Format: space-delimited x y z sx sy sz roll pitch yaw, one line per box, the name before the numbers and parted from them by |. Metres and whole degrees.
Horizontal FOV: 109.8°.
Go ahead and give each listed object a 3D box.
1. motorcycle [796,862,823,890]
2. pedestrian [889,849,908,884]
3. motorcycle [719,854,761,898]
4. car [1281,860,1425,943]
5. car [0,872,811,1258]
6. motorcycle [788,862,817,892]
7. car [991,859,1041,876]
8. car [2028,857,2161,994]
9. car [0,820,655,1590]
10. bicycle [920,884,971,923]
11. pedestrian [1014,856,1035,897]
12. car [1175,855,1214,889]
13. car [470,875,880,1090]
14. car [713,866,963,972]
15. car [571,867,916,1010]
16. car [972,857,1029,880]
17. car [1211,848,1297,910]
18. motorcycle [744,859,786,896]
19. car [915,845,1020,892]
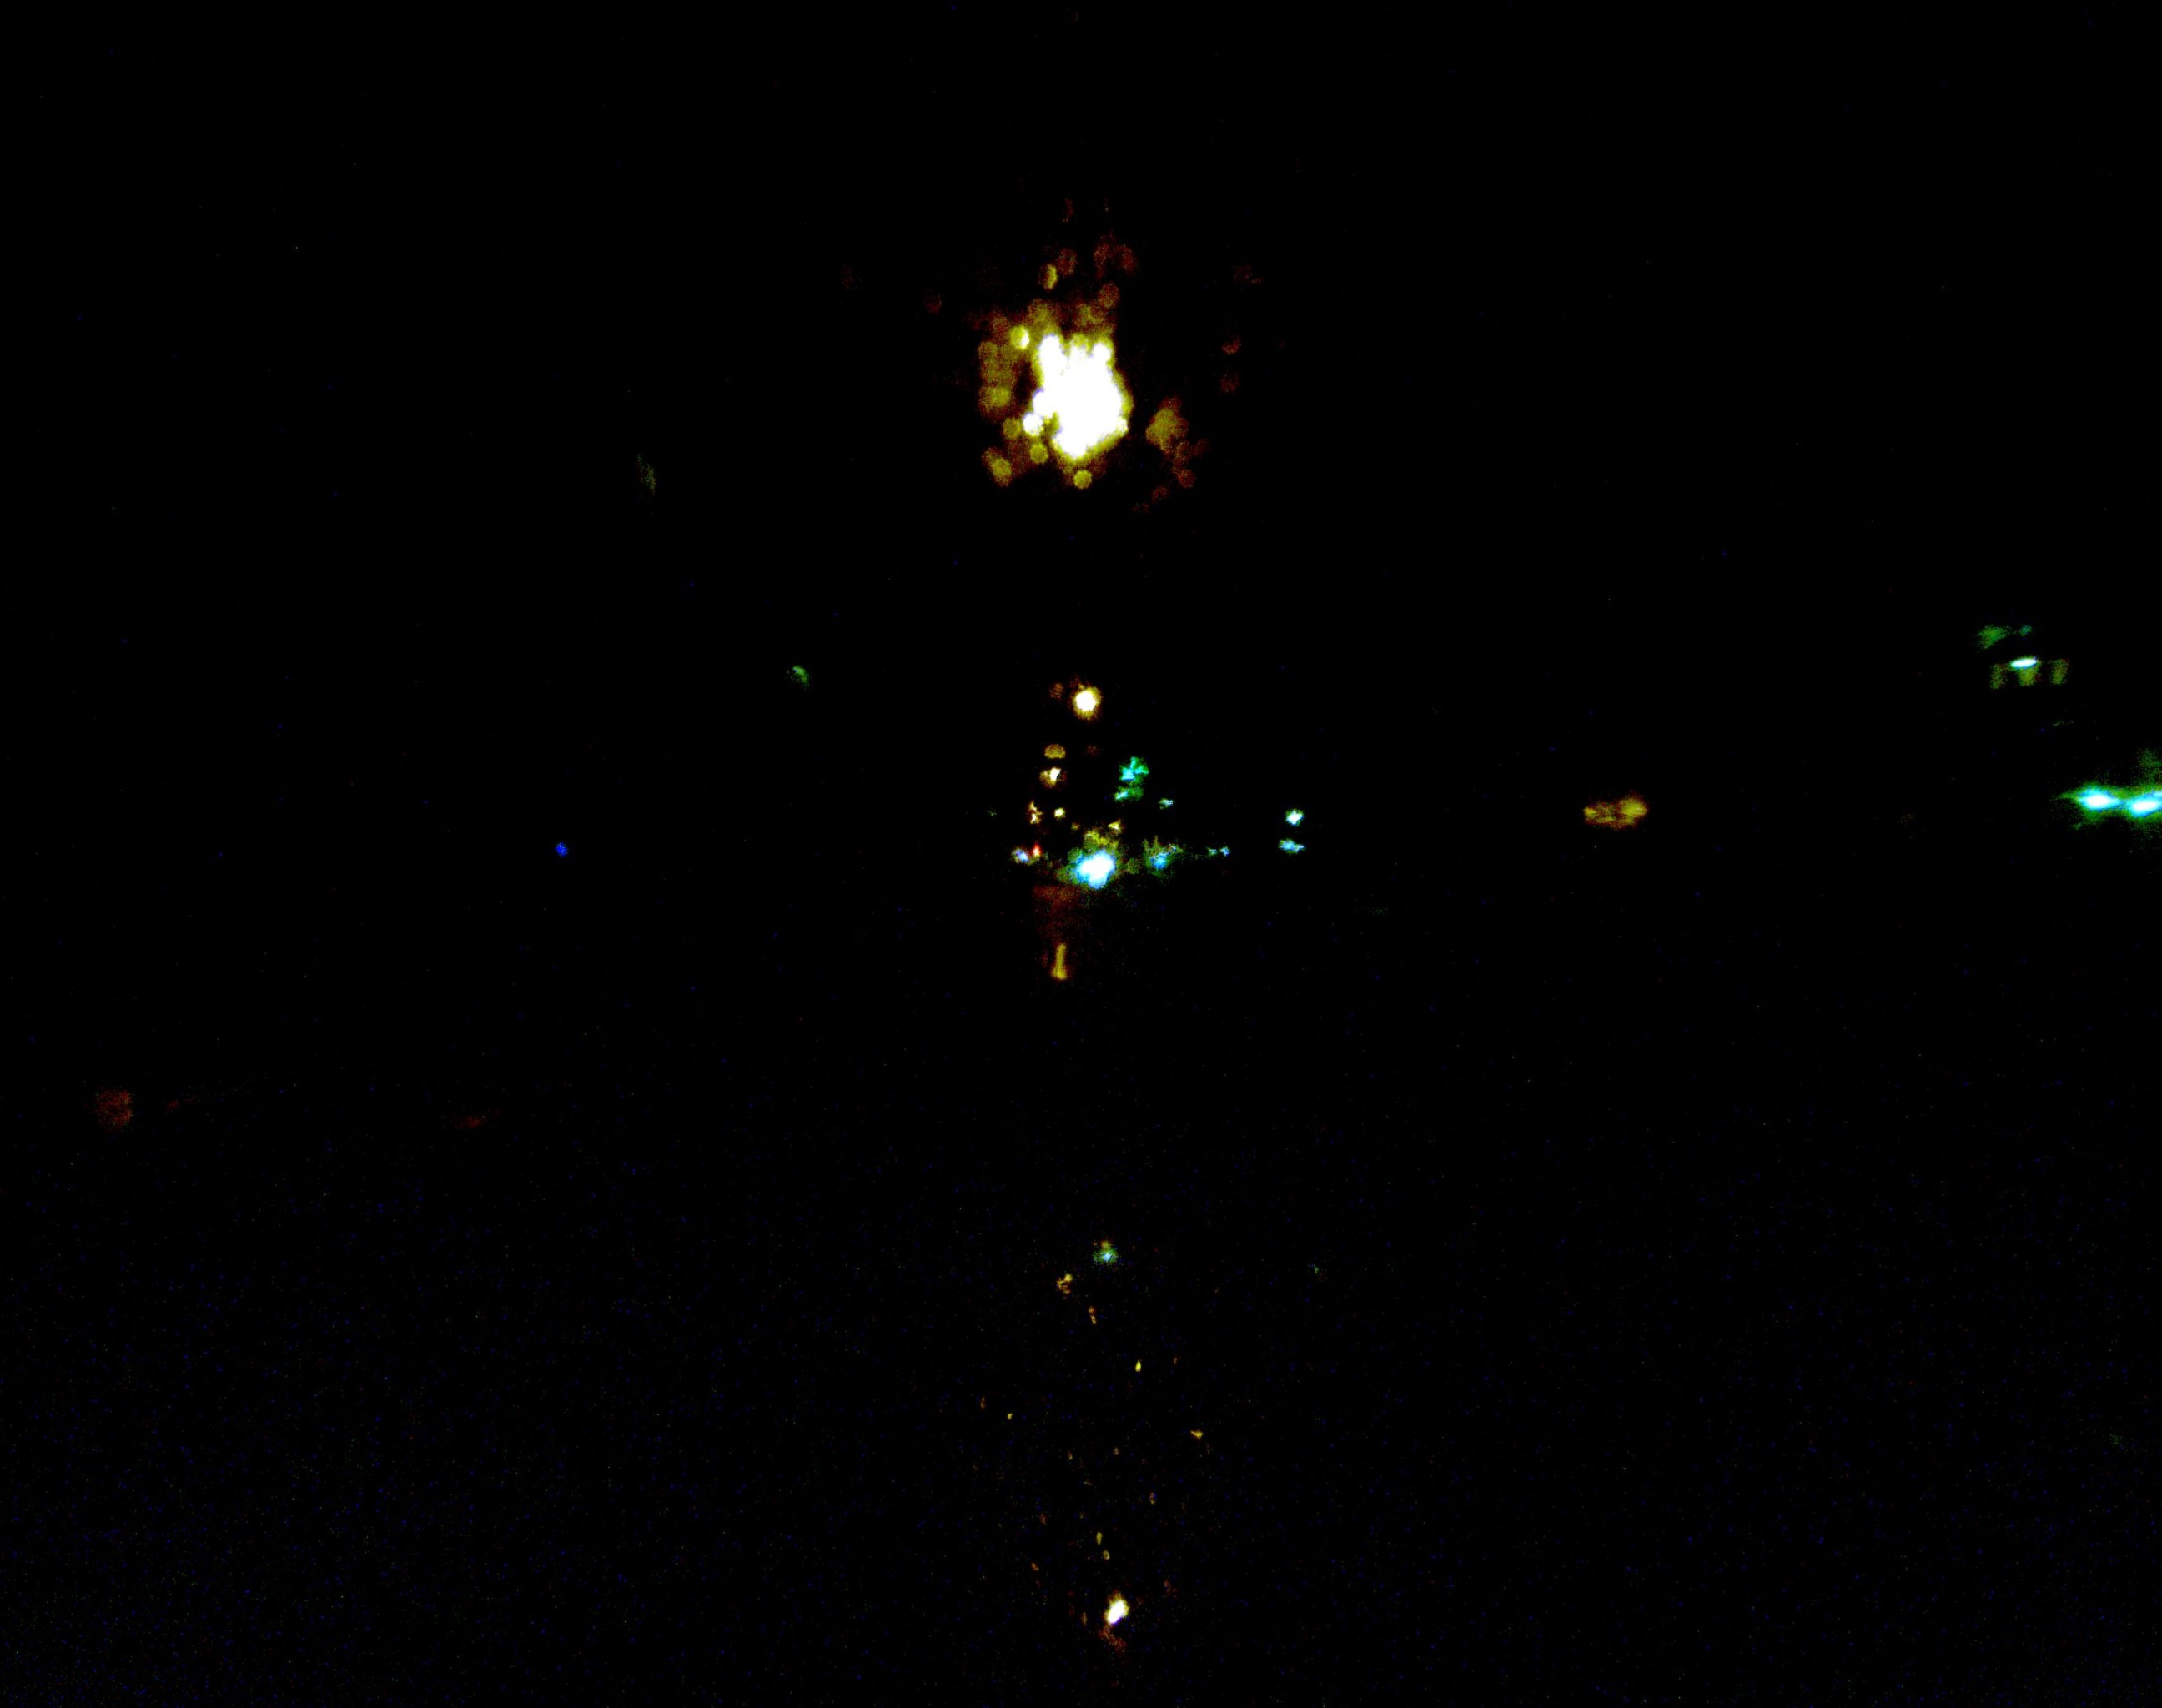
motorcycle | -10.820 0.847 30.305 0.524 1.061 1.624 -1 0 -2
pedestrian | -9.803 0.686 40.784 0.747 1.829 0.843 1 -2 0
motorcycle | -10.602 0.658 23.681 0.524 1.311 2.124 -1 0 -6
car | 5.430 0.876 15.629 1.550 1.434 3.562 -3 0 -1
car | -3.643 0.983 4.799 3.569 1.601 1.710 -2 0 -21
motorcycle | -10.374 0.830 28.373 0.524 1.061 2.056 -1 0 -7
car | -5.658 1.174 66.637 4.123 1.482 1.590 1 -1 -37
car | 14.352 0.811 9.069 3.943 1.562 1.717 -1 0 1
car | -3.663 0.846 2.186 4.112 1.754 1.855 -2 0 -27
bicycle | -3.444 1.258 19.301 1.214 0.942 0.302 -1 0 -3
pedestrian | -2.500 0.994 33.584 0.824 1.760 1.177 0 0 0
car | 6.022 0.932 40.670 1.816 1.660 4.413 -2 0 6
car | -3.574 1.036 7.171 3.051 1.543 1.502 -2 0 -21
car | -4.001 0.992 12.608 3.717 1.514 1.653 1 0 -24
car | -4.157 0.960 9.748 3.717 1.514 1.653 1 0 -24
car | -6.062 1.083 57.316 3.809 1.679 1.832 0 0 -30
car | 5.564 0.740 25.018 1.871 1.835 4.827 0 0 2
motorcycle | -10.845 0.783 26.164 0.524 1.200 2.125 -1 0 0
car | -5.902 0.731 39.661 4.951 2.327 2.226 0 0 -33
